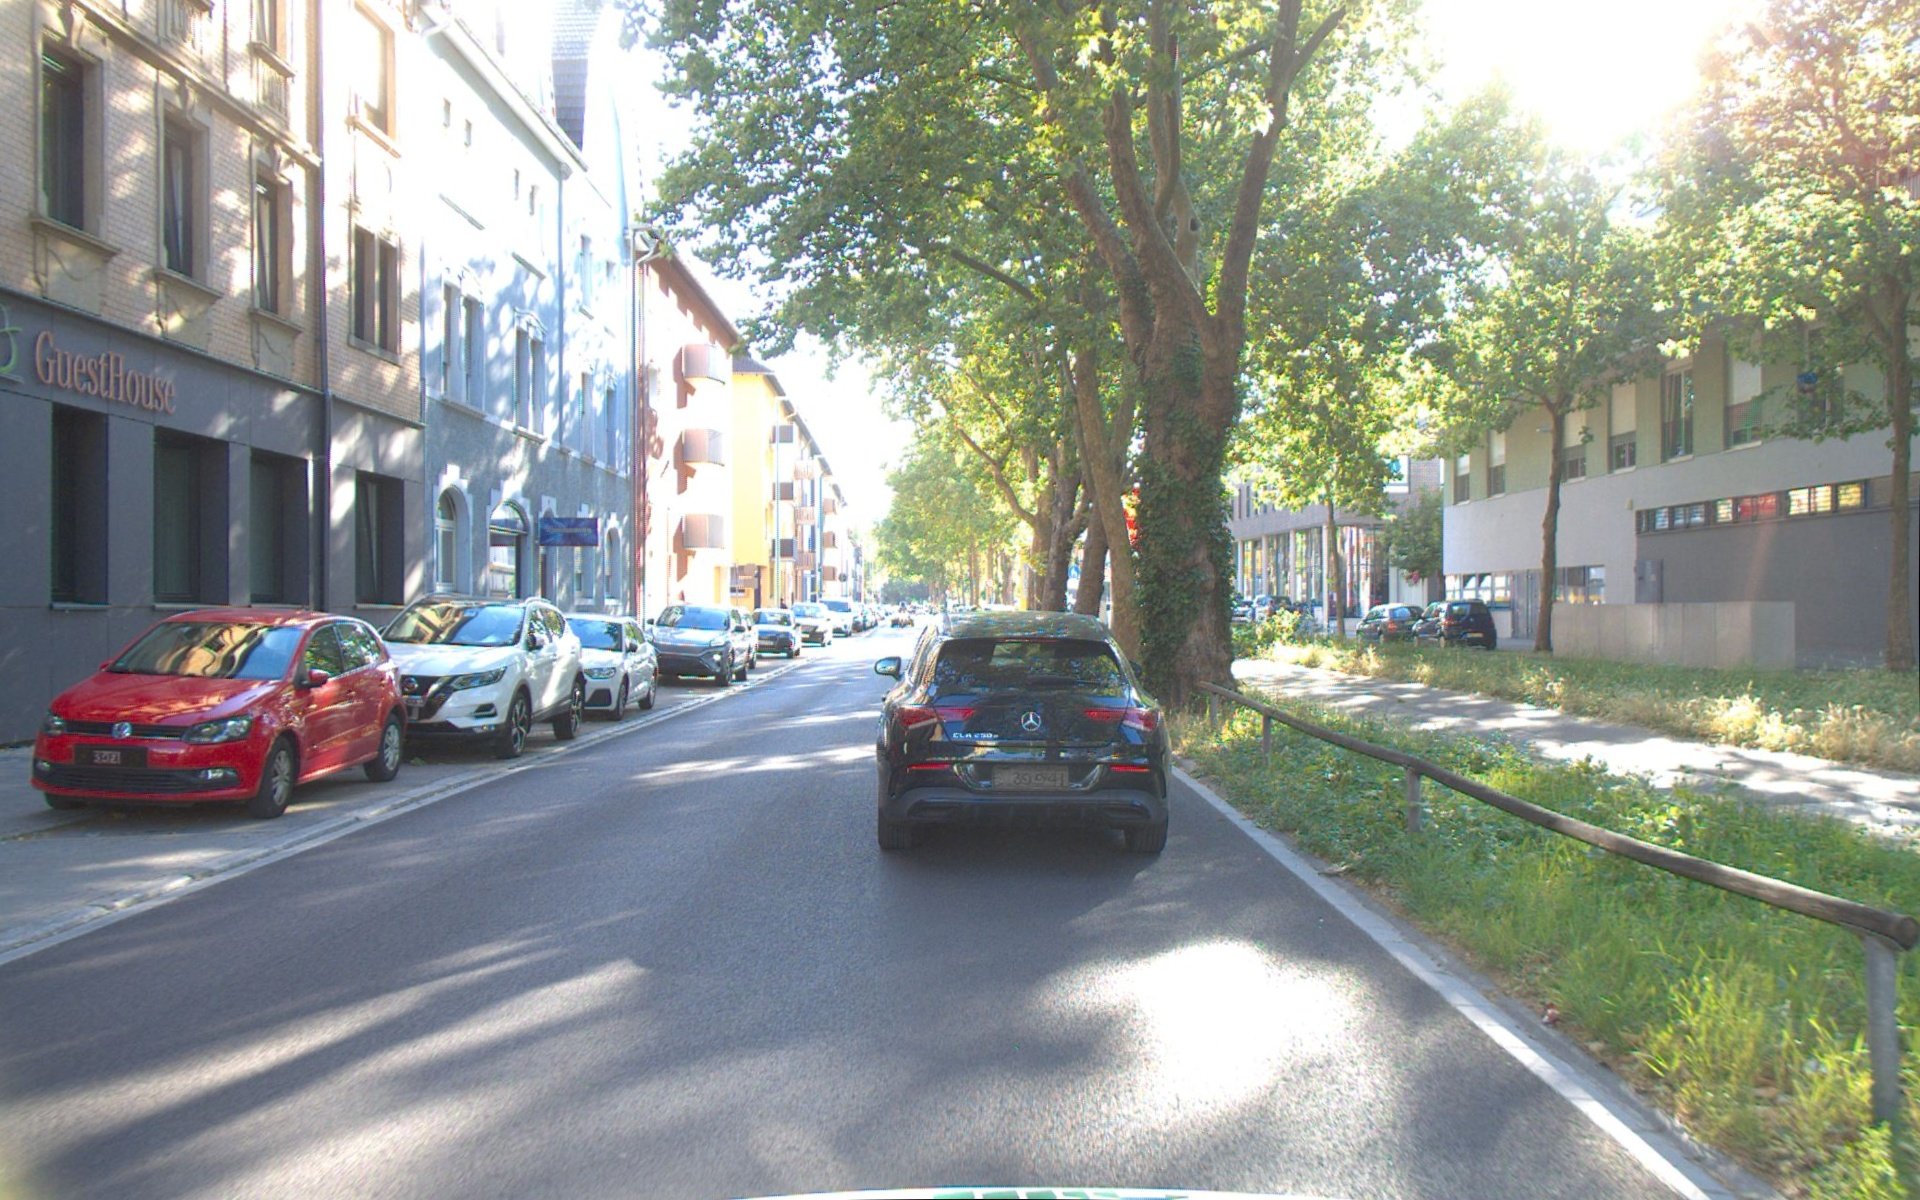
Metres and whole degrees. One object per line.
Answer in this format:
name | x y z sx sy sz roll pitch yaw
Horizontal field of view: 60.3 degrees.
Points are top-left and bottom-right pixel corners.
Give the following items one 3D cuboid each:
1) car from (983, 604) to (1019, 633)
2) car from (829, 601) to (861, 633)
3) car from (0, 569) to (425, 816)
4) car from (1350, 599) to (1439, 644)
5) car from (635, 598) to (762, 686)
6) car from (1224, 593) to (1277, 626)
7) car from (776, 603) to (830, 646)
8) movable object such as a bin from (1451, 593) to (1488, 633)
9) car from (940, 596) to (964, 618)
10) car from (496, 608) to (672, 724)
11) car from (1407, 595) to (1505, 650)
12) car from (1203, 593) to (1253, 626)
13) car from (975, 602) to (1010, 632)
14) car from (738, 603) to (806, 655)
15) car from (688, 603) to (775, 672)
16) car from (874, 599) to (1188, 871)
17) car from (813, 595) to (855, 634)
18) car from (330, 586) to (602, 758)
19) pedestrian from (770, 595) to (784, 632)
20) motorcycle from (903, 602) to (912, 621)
car | 2.191 0.992 88.297 1.602 1.493 4.019 -2 -1 -3
car | -6.724 0.968 96.908 1.710 1.819 4.547 1 0 -3
car | -5.663 0.624 12.991 1.643 1.620 3.756 1 0 0
car | 14.947 0.712 57.086 1.822 1.494 4.121 -1 0 -3
car | -5.408 0.829 34.749 1.869 1.670 4.577 1 0 0
car | 15.978 0.527 91.123 1.946 1.764 4.177 -1 0 -4
car | -6.012 0.926 63.707 1.643 1.550 4.021 1 0 0
movable object such as a bin | 19.316 0.498 62.730 1.167 1.488 1.408 -1 0 10
car | -0.788 0.689 161.352 1.954 2.049 3.995 0 -2 -5
car | -5.424 0.898 24.302 1.643 1.522 3.872 1 0 0
car | 15.061 0.660 50.425 1.821 1.580 3.759 -1 0 -1
car | 14.745 0.524 91.325 1.838 1.764 4.177 -1 0 -4
car | 1.842 0.985 95.168 1.774 1.565 4.582 -3 -1 -1
car | -5.765 0.870 51.010 1.643 1.512 3.601 1 0 0
car | -5.888 0.935 42.949 1.643 1.670 3.984 1 0 0
car | 0.342 0.747 11.105 1.709 1.469 3.967 1 0 -2
car | -6.354 0.713 84.000 1.698 1.940 5.209 1 0 0
car | -5.206 0.693 18.010 1.643 1.612 4.200 1 0 0
pedestrian | -9.190 0.689 83.041 0.575 1.821 0.642 -1 0 -1
motorcycle | -3.509 0.759 111.588 0.536 1.263 2.263 -2 0 -1
